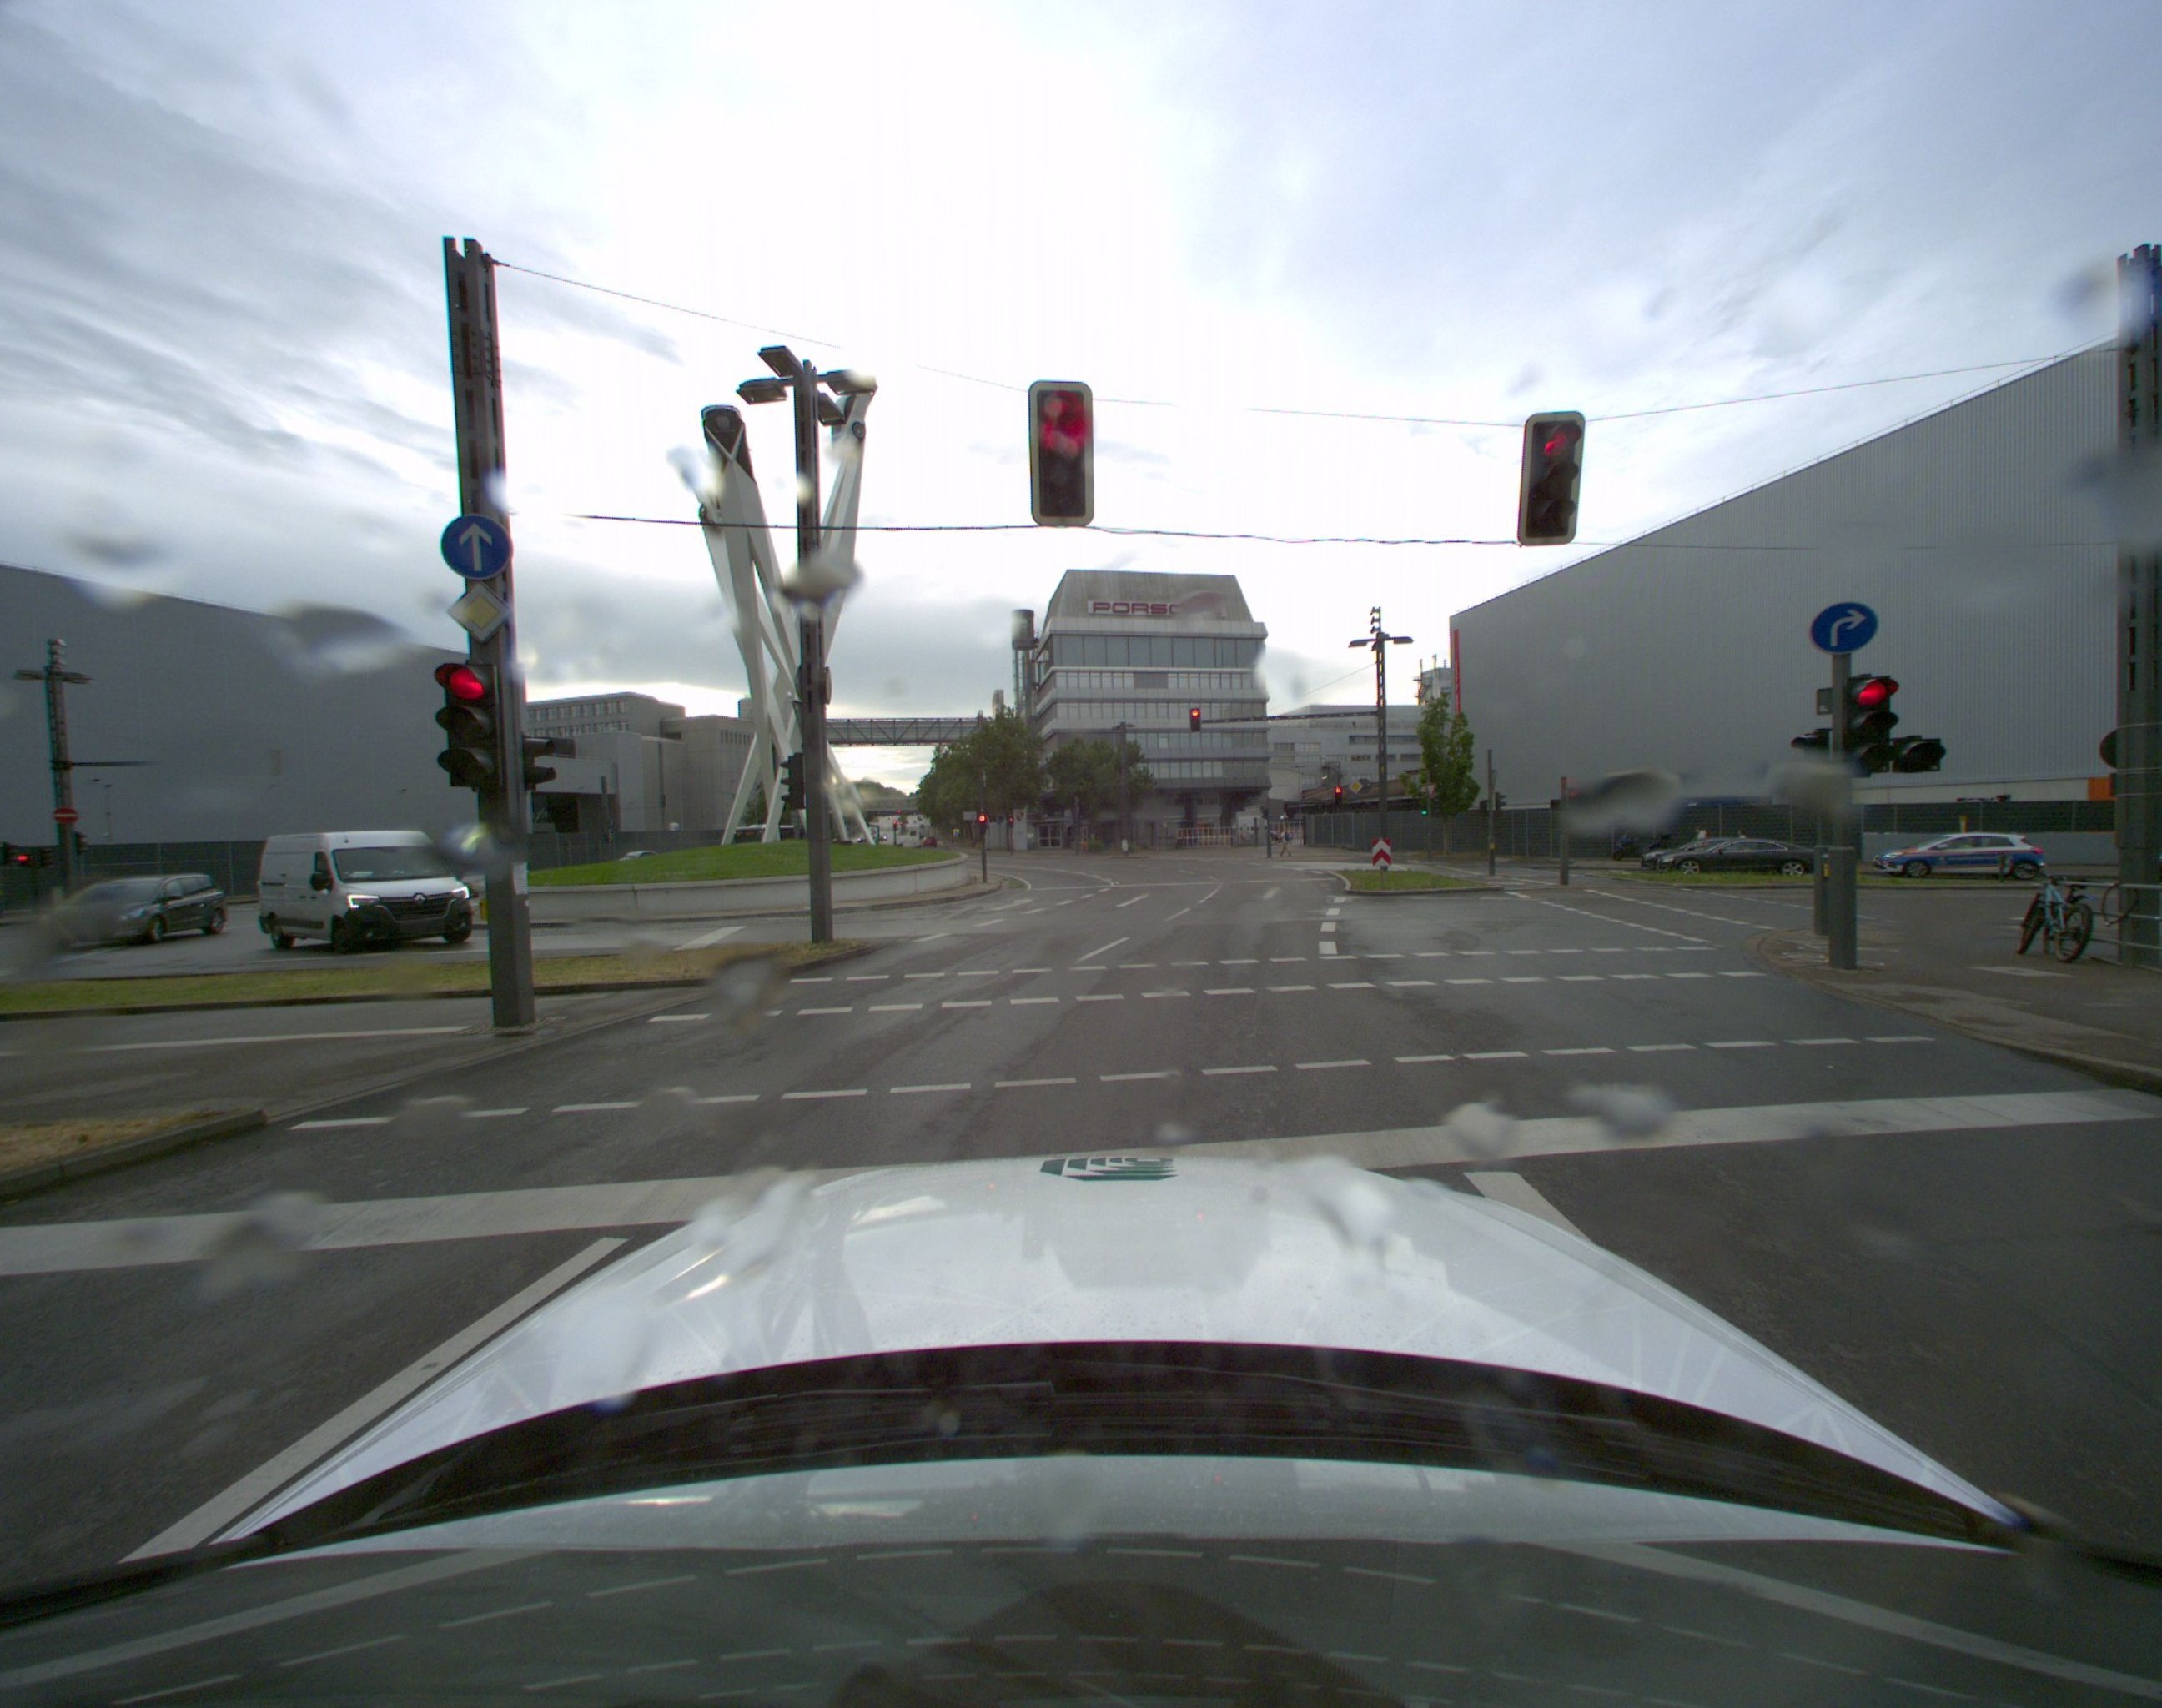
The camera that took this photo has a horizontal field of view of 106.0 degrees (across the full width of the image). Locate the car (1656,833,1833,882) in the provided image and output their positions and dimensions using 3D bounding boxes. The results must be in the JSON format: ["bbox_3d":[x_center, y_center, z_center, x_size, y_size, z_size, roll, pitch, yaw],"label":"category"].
[{"bbox_3d":[22.622,0.080,28.032,4.525,1.539,1.769,0,2,31],"label":"car"}]

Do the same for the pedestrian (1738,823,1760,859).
[{"bbox_3d":[27.859,-0.552,33.980,0.642,1.481,0.442,-1,0,35],"label":"pedestrian"}]

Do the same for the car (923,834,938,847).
[{"bbox_3d":[-19.391,-1.702,104.754,1.774,1.464,3.716,-2,-1,-12],"label":"car"}]

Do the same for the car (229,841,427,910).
[{"bbox_3d":[-33.986,0.869,37.198,1.957,2.820,7.137,-2,0,4],"label":"car"}]

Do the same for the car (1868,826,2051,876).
[{"bbox_3d":[30.159,-0.117,28.144,3.930,1.601,1.924,0,1,31],"label":"car"}]

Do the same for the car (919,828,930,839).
[{"bbox_3d":[-34.259,-4.552,178.162,2.234,2.108,4.934,-2,-1,-12],"label":"car"}]

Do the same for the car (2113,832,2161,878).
[{"bbox_3d":[35.292,0.029,25.097,3.949,1.392,1.769,0,2,31],"label":"car"}]

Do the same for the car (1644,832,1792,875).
[{"bbox_3d":[24.092,-0.059,31.010,4.244,1.539,1.769,0,2,31],"label":"car"}]

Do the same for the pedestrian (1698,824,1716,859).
[{"bbox_3d":[27.029,-0.536,35.174,0.605,1.481,0.426,-1,0,37],"label":"pedestrian"}]

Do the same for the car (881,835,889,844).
[{"bbox_3d":[-39.455,-2.946,164.003,1.629,1.816,3.717,-1,1,-13],"label":"car"}]

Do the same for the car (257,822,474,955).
[{"bbox_3d":[-15.248,0.673,17.265,5.356,2.447,2.013,-2,0,33],"label":"car"}]

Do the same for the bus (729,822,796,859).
[{"bbox_3d":[-30.560,-1.254,78.894,2.665,3.200,12.644,-1,0,-6],"label":"bus"}]

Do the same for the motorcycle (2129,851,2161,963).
[{"bbox_3d":[15.134,0.668,10.365,2.213,1.452,0.759,-1,0,12],"label":"motorcycle"}]

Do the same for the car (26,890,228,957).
[{"bbox_3d":[-24.809,1.723,21.434,1.843,1.338,4.446,-2,0,-27],"label":"car"}]

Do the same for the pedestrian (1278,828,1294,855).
[{"bbox_3d":[12.598,-0.768,49.996,0.801,1.611,0.773,-2,-1,19],"label":"pedestrian"}]

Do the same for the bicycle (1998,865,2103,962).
[{"bbox_3d":[12.402,0.714,10.463,0.381,1.098,1.762,-2,0,35],"label":"bicycle"}]

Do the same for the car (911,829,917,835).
[{"bbox_3d":[-43.598,-5.769,212.436,1.558,1.288,3.399,-2,-1,-12],"label":"car"}]

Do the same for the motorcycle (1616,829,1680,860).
[{"bbox_3d":[25.689,-0.413,36.935,2.330,1.344,0.657,-1,0,30],"label":"motorcycle"}]
